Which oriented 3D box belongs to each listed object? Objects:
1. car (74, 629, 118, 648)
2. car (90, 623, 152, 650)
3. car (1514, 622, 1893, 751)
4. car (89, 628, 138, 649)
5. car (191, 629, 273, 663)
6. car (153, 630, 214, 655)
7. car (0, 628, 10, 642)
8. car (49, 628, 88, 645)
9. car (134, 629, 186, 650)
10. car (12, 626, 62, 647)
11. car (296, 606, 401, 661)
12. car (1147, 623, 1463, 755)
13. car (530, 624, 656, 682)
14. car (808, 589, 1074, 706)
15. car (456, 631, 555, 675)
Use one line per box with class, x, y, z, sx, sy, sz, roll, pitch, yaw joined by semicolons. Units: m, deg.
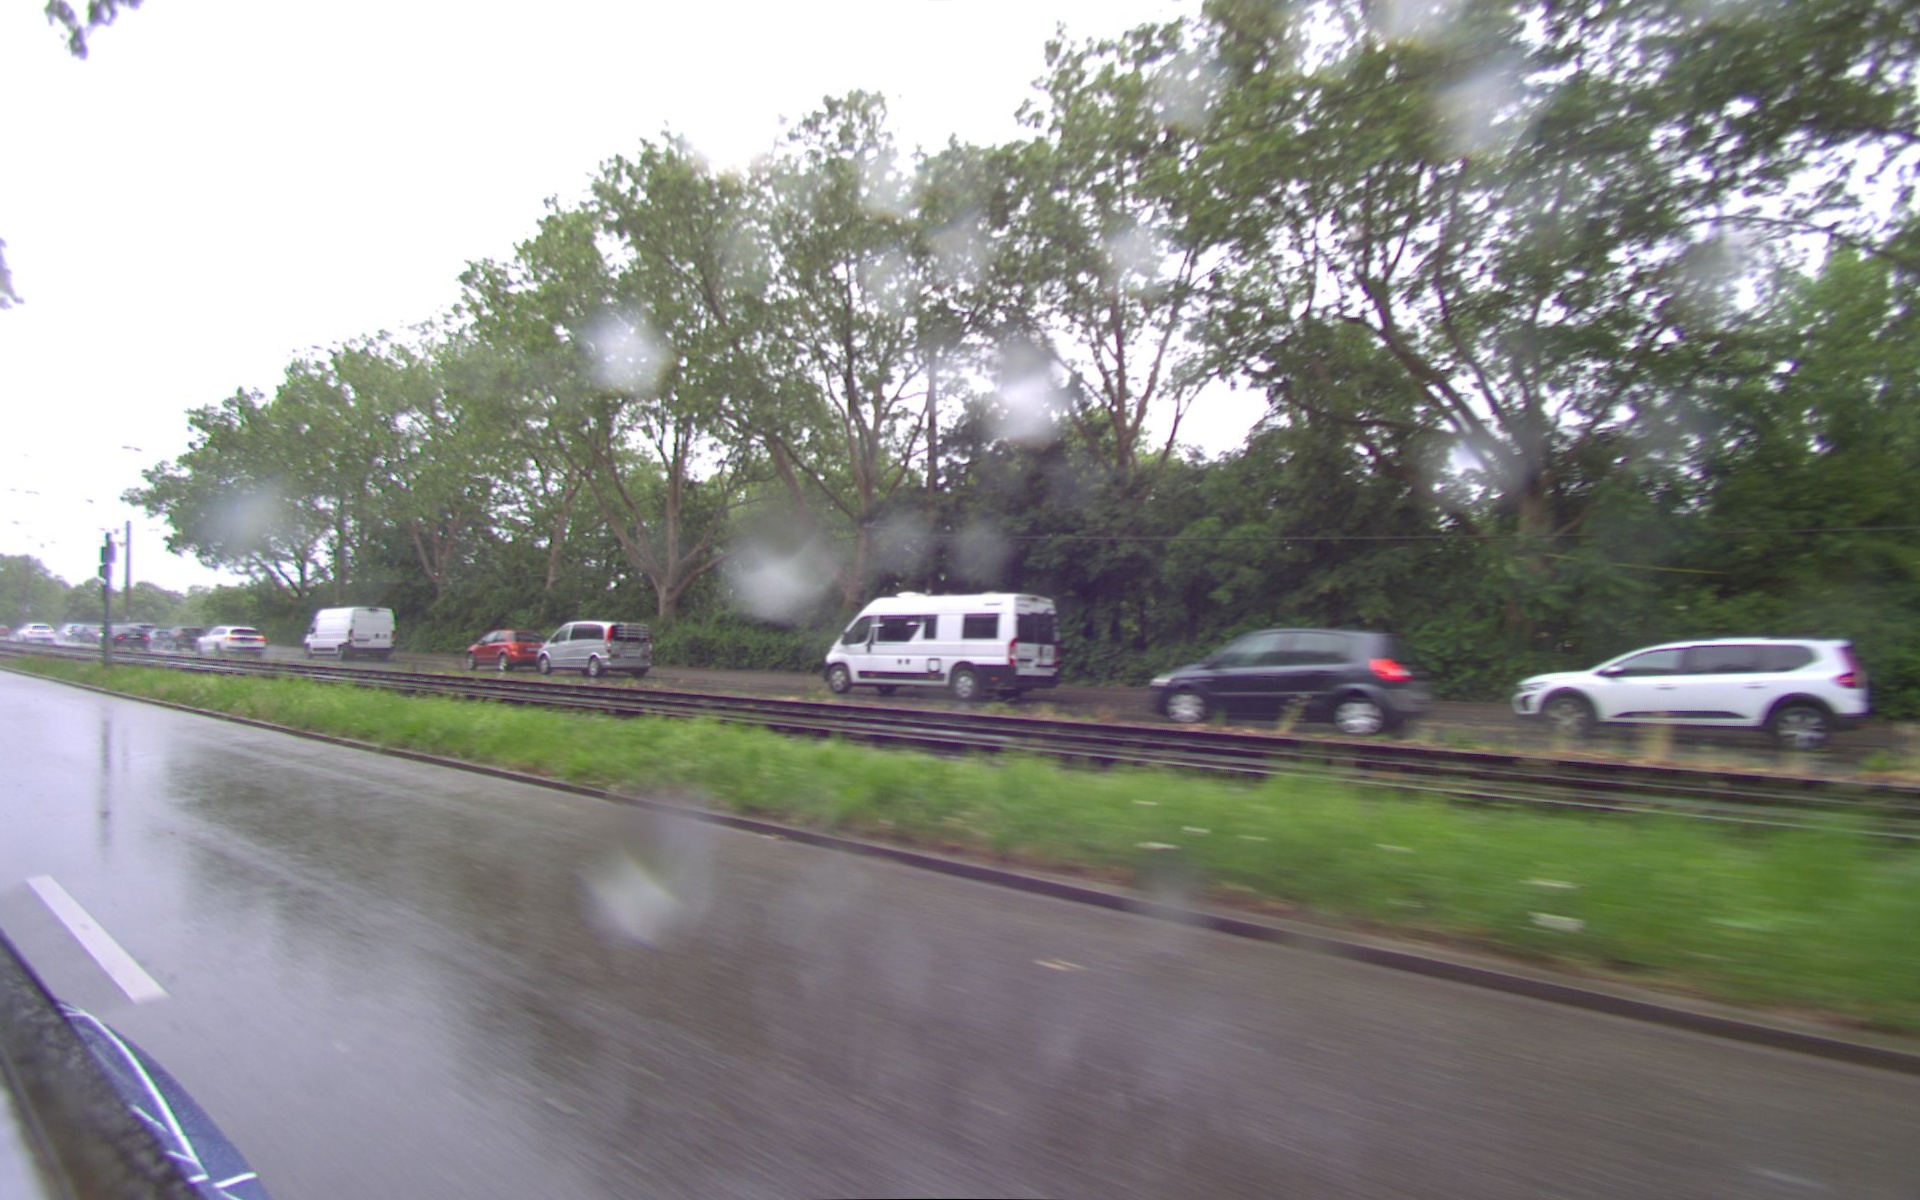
car;-68.697;3.075;80.477;4.122;1.442;1.634;-1;-3;35
car;-50.429;2.158;60.828;4.561;1.564;2.013;-1;-2;39
car;11.328;1.247;15.772;4.524;1.741;1.733;-1;-3;38
car;-64.227;2.918;76.755;4.572;1.522;1.867;-1;-3;38
car;-35.600;2.237;49.451;4.762;1.579;1.959;-1;-3;38
car;-50.311;2.753;65.557;4.378;1.564;2.014;-1;-3;38
car;-108.499;3.940;113.523;4.911;1.478;2.014;-1;-2;38
car;-76.843;3.141;87.209;4.145;1.442;1.633;-1;-2;37
car;-54.412;2.672;68.829;3.961;1.389;1.867;-1;-3;39
car;-72.822;2.855;79.841;4.989;1.564;2.014;-1;-3;38
car;-29.536;1.599;48.781;6.132;2.465;2.307;-1;-3;39
car;5.301;1.278;15.771;4.253;1.764;2.012;-1;-3;37
car;-12.747;1.800;35.023;4.635;1.876;1.937;-1;-3;39
car;-0.609;1.136;25.142;6.556;2.560;2.367;-1;-3;38
car;-17.423;2.011;38.745;4.020;1.564;1.800;-1;-3;39
